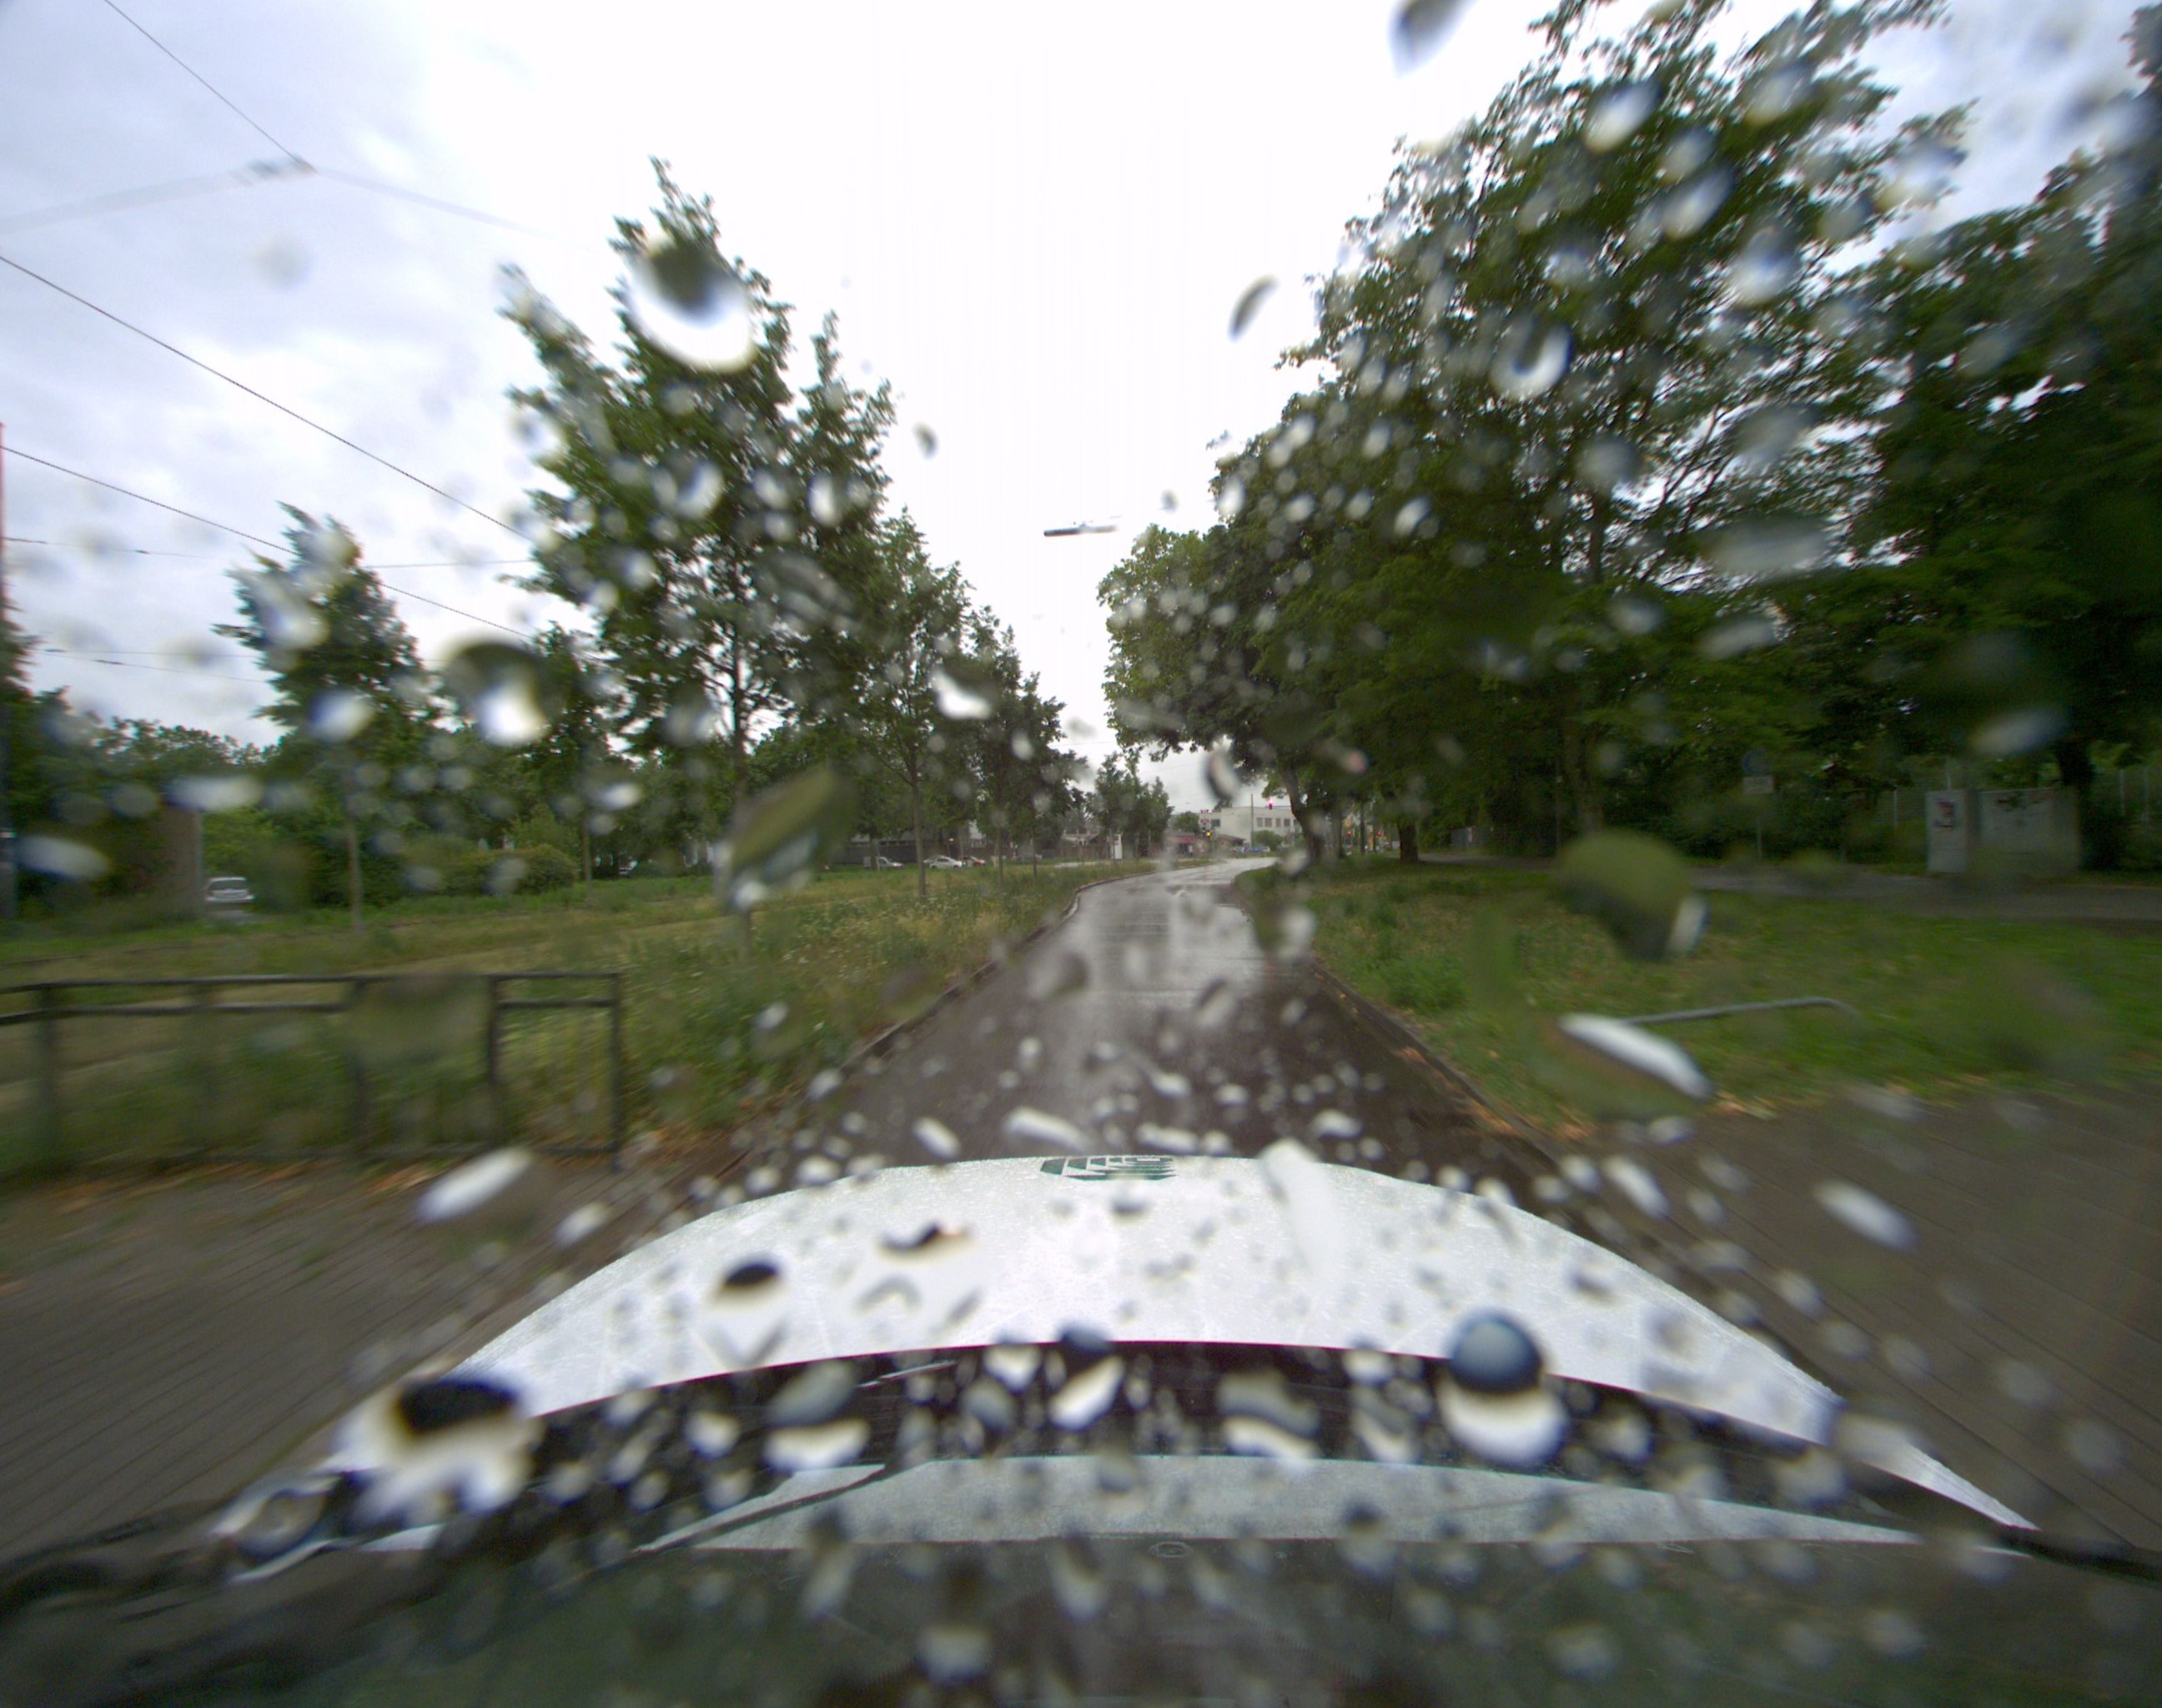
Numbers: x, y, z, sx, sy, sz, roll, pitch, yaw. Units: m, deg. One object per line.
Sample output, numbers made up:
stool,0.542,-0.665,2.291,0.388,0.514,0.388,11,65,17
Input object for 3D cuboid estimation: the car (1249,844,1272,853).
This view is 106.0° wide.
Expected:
car,30.880,-0.980,140.137,3.724,1.442,1.769,-2,0,13

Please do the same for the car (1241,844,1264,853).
car,28.964,-0.901,137.311,3.724,1.442,1.769,-2,0,13

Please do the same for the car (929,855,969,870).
car,-14.780,0.985,91.285,4.043,1.499,1.656,-2,0,7

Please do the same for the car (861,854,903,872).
car,-22.641,1.018,92.718,4.187,1.796,1.655,-2,1,7

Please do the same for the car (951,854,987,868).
car,-13.073,0.832,94.874,3.797,1.499,1.656,-2,0,7

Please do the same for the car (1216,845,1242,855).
car,23.732,-0.709,130.193,3.717,1.442,1.772,-2,0,22

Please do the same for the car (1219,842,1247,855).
car,24.942,-0.874,133.451,4.097,1.860,1.683,-2,-1,26

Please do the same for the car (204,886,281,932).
car,-42.001,2.710,40.896,2.009,2.013,3.955,-2,0,-37

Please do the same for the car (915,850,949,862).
car,-19.222,0.278,104.881,3.968,1.420,1.540,-2,0,4
